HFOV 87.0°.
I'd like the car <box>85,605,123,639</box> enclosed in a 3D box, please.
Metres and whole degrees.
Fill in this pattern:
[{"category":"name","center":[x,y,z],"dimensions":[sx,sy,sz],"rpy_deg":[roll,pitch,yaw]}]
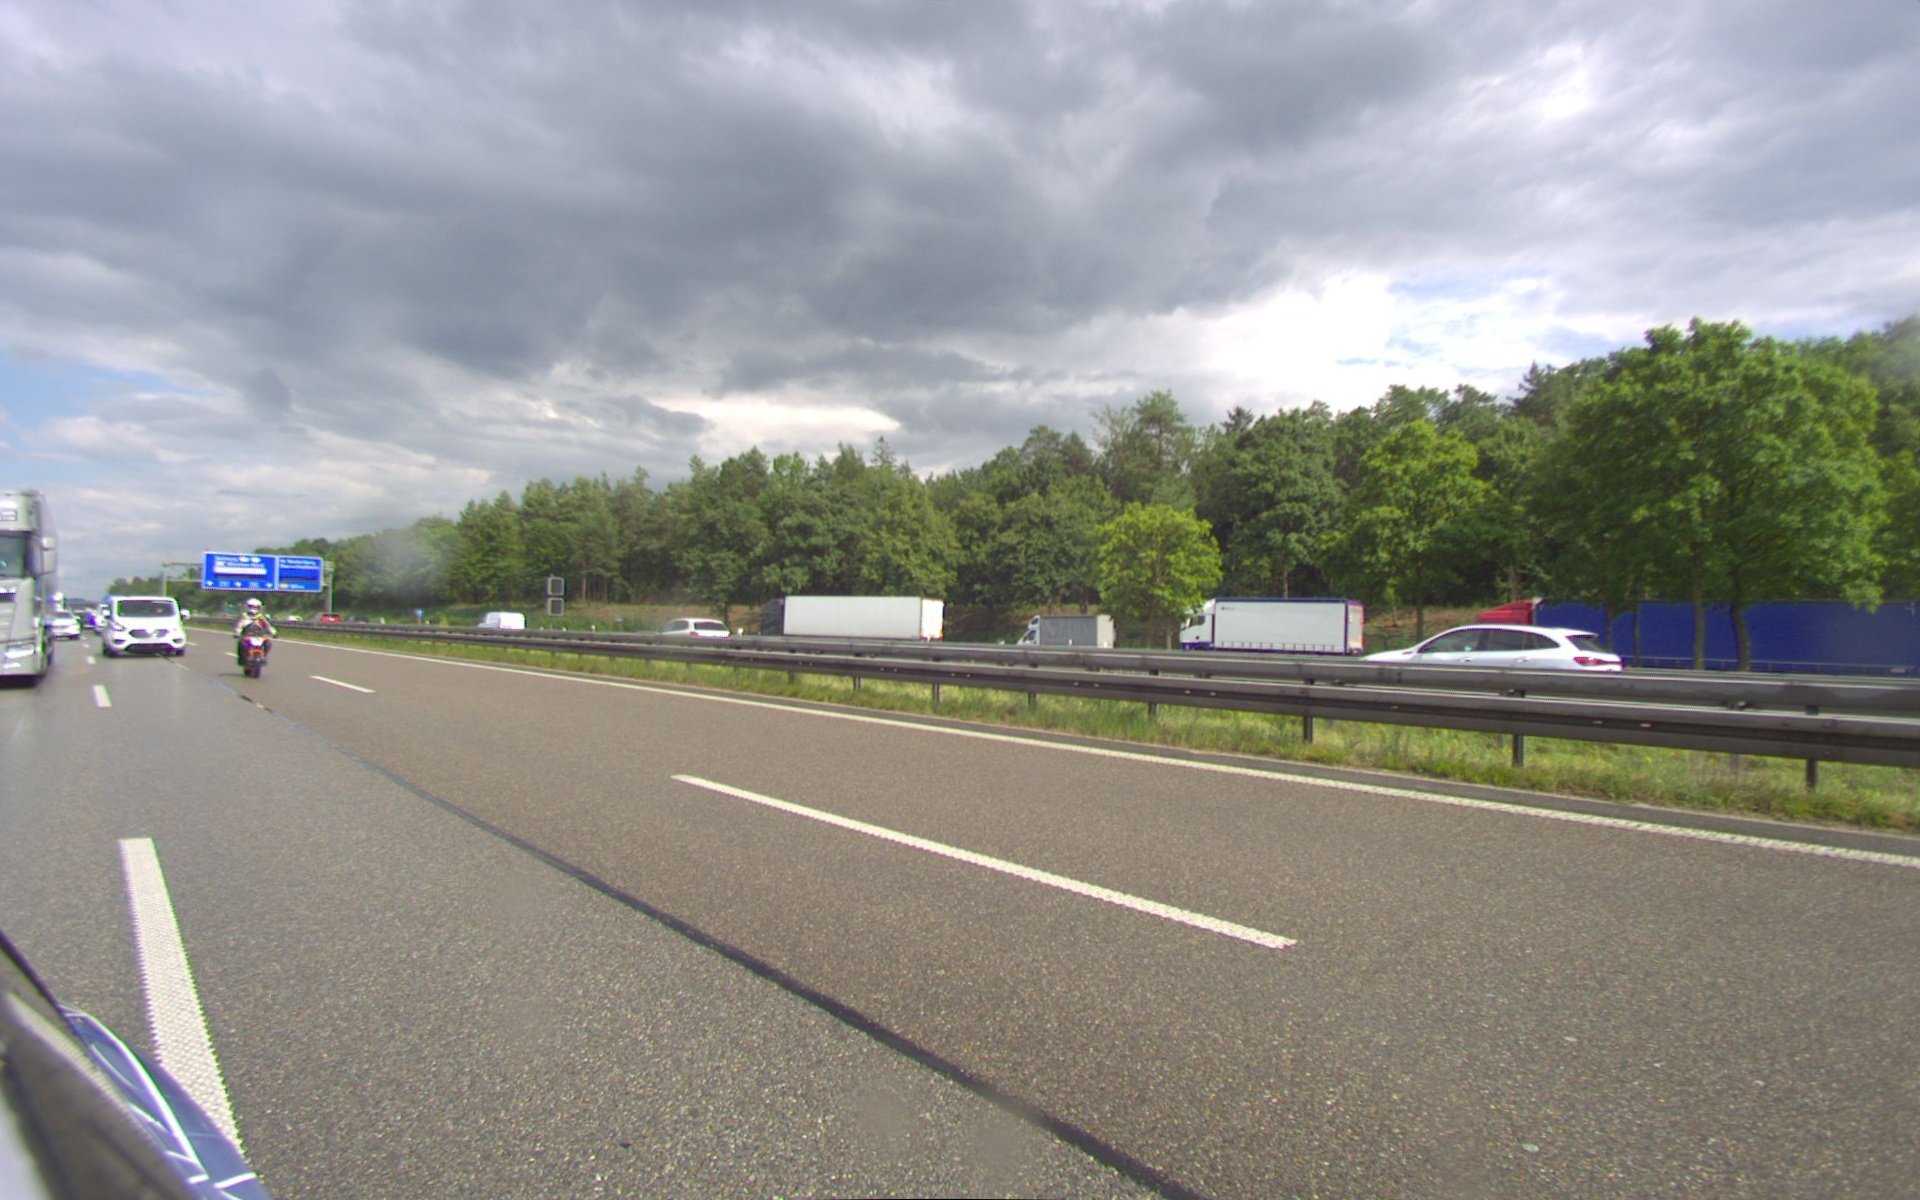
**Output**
[{"category":"car","center":[-54.835,1.383,64.807],"dimensions":[1.808,2.060,4.786],"rpy_deg":[0,0,-41]}]

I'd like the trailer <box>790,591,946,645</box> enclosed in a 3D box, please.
[{"category":"trailer","center":[-7.007,1.298,75.255],"dimensions":[12.542,3.767,3.176],"rpy_deg":[0,-2,35]}]

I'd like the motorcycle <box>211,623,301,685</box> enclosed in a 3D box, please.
[{"category":"motorcycle","center":[-15.897,1.171,22.804],"dimensions":[1.171,1.235,3.197],"rpy_deg":[0,0,-44]}]

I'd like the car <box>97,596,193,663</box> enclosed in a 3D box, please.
[{"category":"car","center":[-27.498,0.913,34.067],"dimensions":[2.315,2.060,5.150],"rpy_deg":[0,0,-41]}]

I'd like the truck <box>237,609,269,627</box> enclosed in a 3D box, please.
[{"category":"truck","center":[-77.308,1.945,110.625],"dimensions":[2.229,1.909,5.454],"rpy_deg":[0,0,-41]}]

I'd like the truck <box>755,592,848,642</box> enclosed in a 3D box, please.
[{"category":"truck","center":[-12.388,1.294,79.033],"dimensions":[6.900,3.732,3.180],"rpy_deg":[0,0,35]}]

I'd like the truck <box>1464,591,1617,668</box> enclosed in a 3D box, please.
[{"category":"truck","center":[27.771,1.328,48.536],"dimensions":[5.896,3.482,2.830],"rpy_deg":[0,0,42]}]

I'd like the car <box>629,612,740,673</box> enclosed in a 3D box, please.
[{"category":"car","center":[-9.560,1.386,34.892],"dimensions":[1.808,1.905,4.786],"rpy_deg":[0,0,-41]}]

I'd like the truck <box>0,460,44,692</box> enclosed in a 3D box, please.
[{"category":"truck","center":[-20.774,-0.442,20.850],"dimensions":[2.612,4.306,6.890],"rpy_deg":[0,0,-44]}]

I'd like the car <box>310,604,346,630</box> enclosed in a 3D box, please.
[{"category":"car","center":[-51.591,1.357,82.582],"dimensions":[1.808,2.060,4.786],"rpy_deg":[0,0,-41]}]

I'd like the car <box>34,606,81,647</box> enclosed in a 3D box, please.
[{"category":"car","center":[-48.570,1.383,54.532],"dimensions":[1.808,2.060,4.786],"rpy_deg":[0,0,-41]}]

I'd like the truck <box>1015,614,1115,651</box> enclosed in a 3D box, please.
[{"category":"truck","center":[6.758,2.046,65.846],"dimensions":[6.306,2.282,2.099],"rpy_deg":[0,0,36]}]

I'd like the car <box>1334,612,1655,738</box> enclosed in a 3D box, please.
[{"category":"car","center":[9.420,1.191,18.188],"dimensions":[1.808,1.905,4.786],"rpy_deg":[0,0,-41]}]

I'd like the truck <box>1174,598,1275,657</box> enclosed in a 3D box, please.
[{"category":"truck","center":[15.330,1.521,58.806],"dimensions":[5.081,3.292,2.628],"rpy_deg":[0,0,39]}]

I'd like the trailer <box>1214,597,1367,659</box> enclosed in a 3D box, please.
[{"category":"trailer","center":[18.322,1.502,56.452],"dimensions":[7.734,3.257,2.553],"rpy_deg":[0,-1,39]}]

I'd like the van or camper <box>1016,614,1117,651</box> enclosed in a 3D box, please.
[{"category":"van or camper","center":[6.869,2.046,65.696],"dimensions":[6.311,2.282,2.099],"rpy_deg":[0,0,36]}]

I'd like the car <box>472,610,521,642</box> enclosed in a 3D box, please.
[{"category":"car","center":[-32.183,1.769,70.260],"dimensions":[1.808,2.060,4.786],"rpy_deg":[0,0,-41]}]

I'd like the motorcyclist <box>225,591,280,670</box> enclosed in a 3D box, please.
[{"category":"motorcyclist","center":[-15.867,0.664,22.696],"dimensions":[0.870,1.719,1.002],"rpy_deg":[0,0,-43]}]

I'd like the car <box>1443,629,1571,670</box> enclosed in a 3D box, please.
[{"category":"car","center":[30.887,2.732,57.270],"dimensions":[6.129,2.029,1.973],"rpy_deg":[0,0,41]}]

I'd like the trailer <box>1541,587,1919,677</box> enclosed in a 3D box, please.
[{"category":"trailer","center":[33.016,1.276,43.737],"dimensions":[13.424,3.430,2.792],"rpy_deg":[0,-2,42]}]
